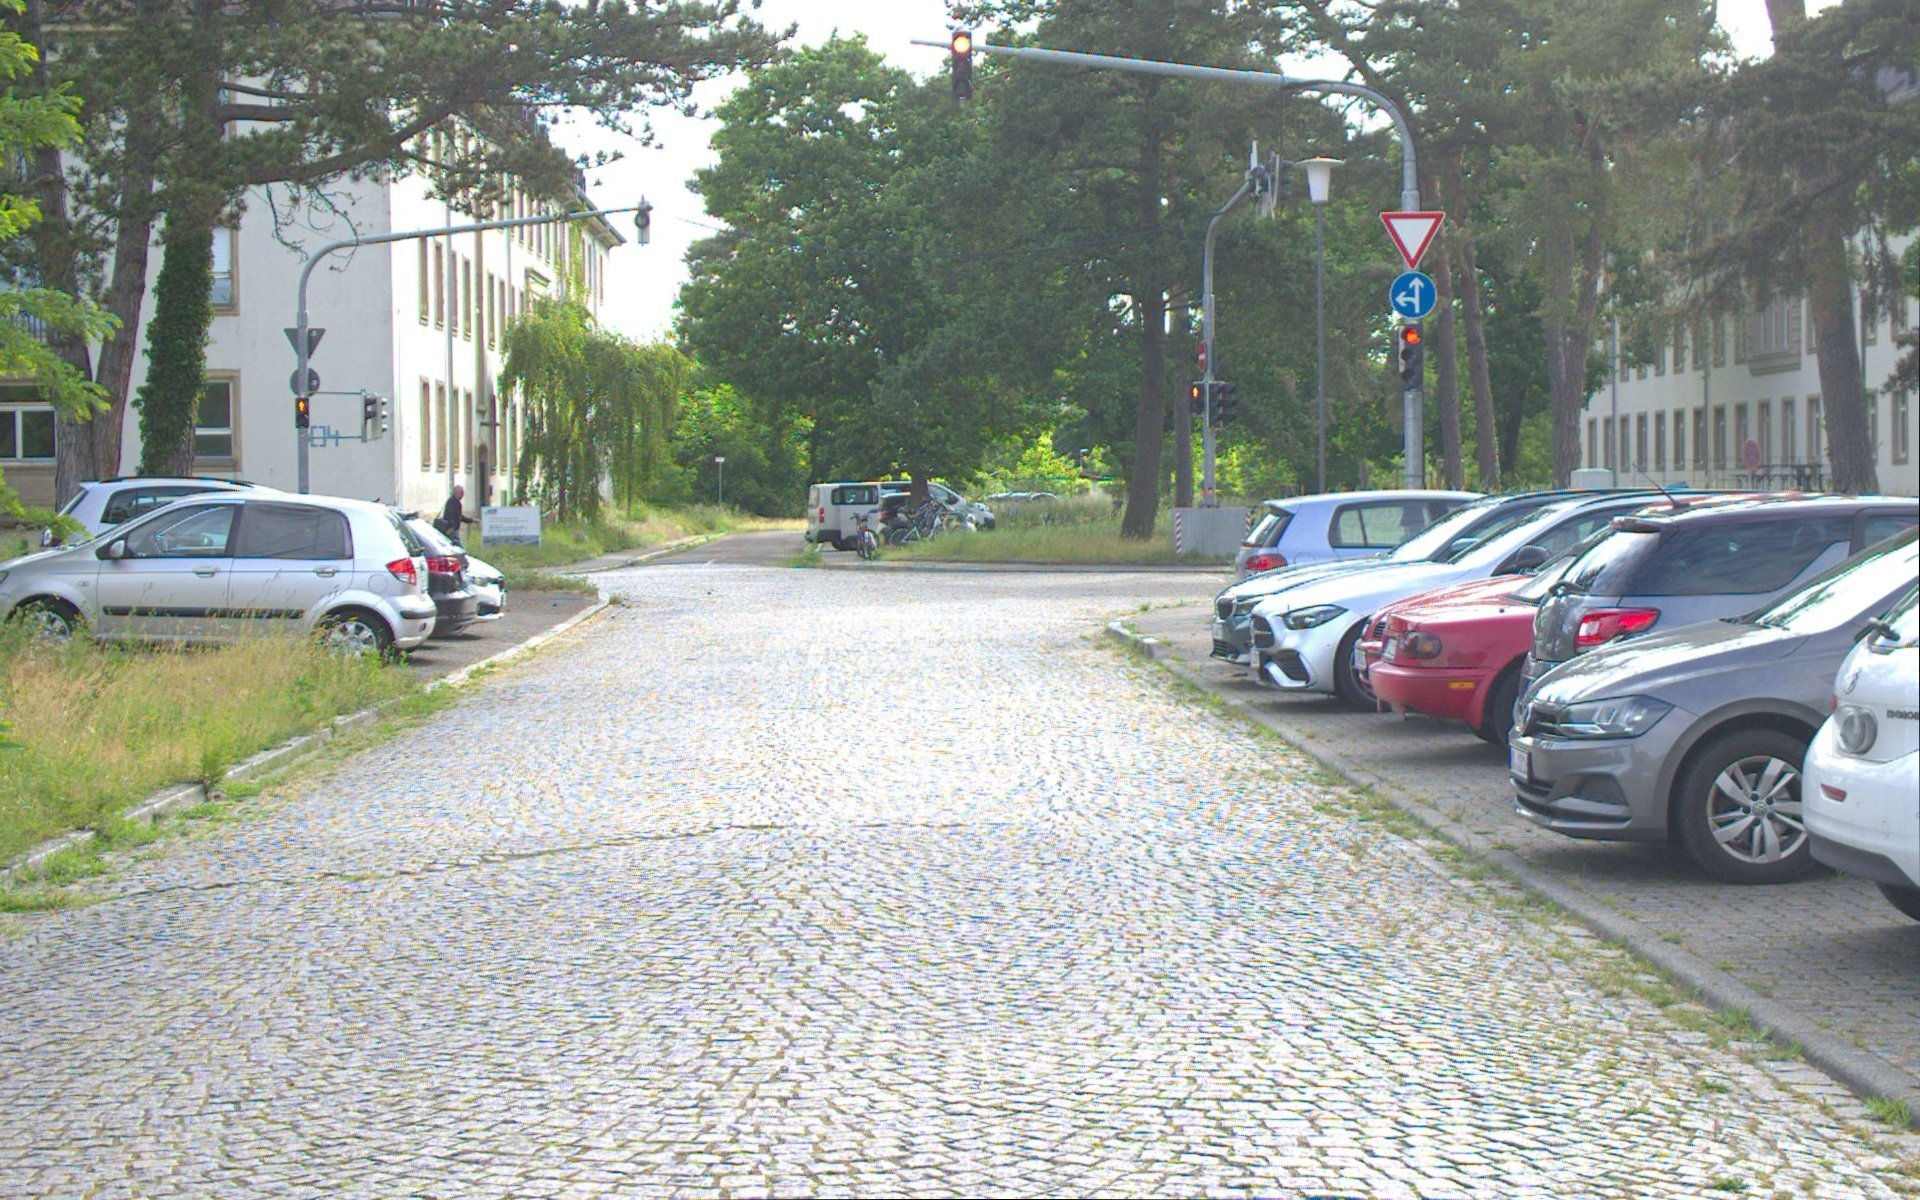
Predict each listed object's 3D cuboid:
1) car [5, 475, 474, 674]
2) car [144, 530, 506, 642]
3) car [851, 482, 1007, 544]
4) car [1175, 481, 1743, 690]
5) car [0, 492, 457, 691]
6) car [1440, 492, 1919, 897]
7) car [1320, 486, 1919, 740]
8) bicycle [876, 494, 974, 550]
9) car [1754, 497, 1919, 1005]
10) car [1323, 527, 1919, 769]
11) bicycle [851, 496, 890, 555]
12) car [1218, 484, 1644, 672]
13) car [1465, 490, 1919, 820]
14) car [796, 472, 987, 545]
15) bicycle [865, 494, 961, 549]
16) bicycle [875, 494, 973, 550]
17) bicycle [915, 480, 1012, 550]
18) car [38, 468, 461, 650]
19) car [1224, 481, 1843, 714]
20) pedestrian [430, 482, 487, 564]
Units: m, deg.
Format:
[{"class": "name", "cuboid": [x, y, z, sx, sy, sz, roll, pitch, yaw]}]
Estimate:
[{"class": "car", "cuboid": [-6.420, -0.267, 31.056, 3.986, 1.700, 2.001, -1, 2, -8]}, {"class": "car", "cuboid": [-6.645, -0.164, 36.284, 3.670, 1.090, 1.647, -1, 2, -8]}, {"class": "car", "cuboid": [-0.858, -2.361, 93.025, 3.986, 1.638, 2.001, 0, 2, -7]}, {"class": "car", "cuboid": [3.878, -0.145, 27.048, 4.122, 1.538, 1.665, -1, 2, -7]}, {"class": "car", "cuboid": [-6.216, -0.107, 28.572, 3.986, 1.546, 2.001, -1, 2, -8]}, {"class": "car", "cuboid": [3.972, 0.315, 14.164, 3.597, 1.501, 1.665, -1, 2, -12]}, {"class": "car", "cuboid": [4.446, 0.045, 22.014, 3.986, 1.538, 1.664, 0, 2, -7]}, {"class": "bicycle", "cuboid": [-0.807, -1.791, 78.483, 2.160, 1.264, 0.813, 0, 2, -8]}, {"class": "car", "cuboid": [4.446, 0.414, 11.174, 3.292, 1.499, 1.664, -1, 2, -4]}, {"class": "car", "cuboid": [3.893, 0.239, 19.758, 3.291, 1.263, 1.665, -1, 2, -7]}, {"class": "bicycle", "cuboid": [-1.947, -1.629, 74.698, 0.810, 1.264, 1.973, 0, 2, -1]}, {"class": "car", "cuboid": [4.028, -0.214, 29.622, 3.388, 1.538, 1.391, -1, 2, -7]}, {"class": "car", "cuboid": [4.356, 0.214, 17.051, 3.291, 1.499, 1.665, -1, 2, -12]}, {"class": "car", "cuboid": [-1.925, -2.577, 96.273, 5.049, 2.006, 2.001, 0, 2, -12]}, {"class": "bicycle", "cuboid": [-1.104, -1.832, 80.277, 2.160, 1.264, 0.813, 0, 2, -8]}, {"class": "bicycle", "cuboid": [-0.829, -1.803, 79.070, 2.160, 1.264, 0.813, 0, 2, -8]}, {"class": "bicycle", "cuboid": [0.080, -1.979, 79.797, 2.160, 1.610, 0.813, 0, 2, -8]}, {"class": "car", "cuboid": [-6.965, -0.435, 34.072, 3.986, 1.744, 1.928, 0, 2, -8]}, {"class": "car", "cuboid": [3.993, -0.053, 24.240, 3.986, 1.538, 1.665, -1, 2, -7]}, {"class": "pedestrian", "cuboid": [-9.170, -1.418, 62.878, 0.898, 1.493, 0.904, 0, 2, -1]}]
